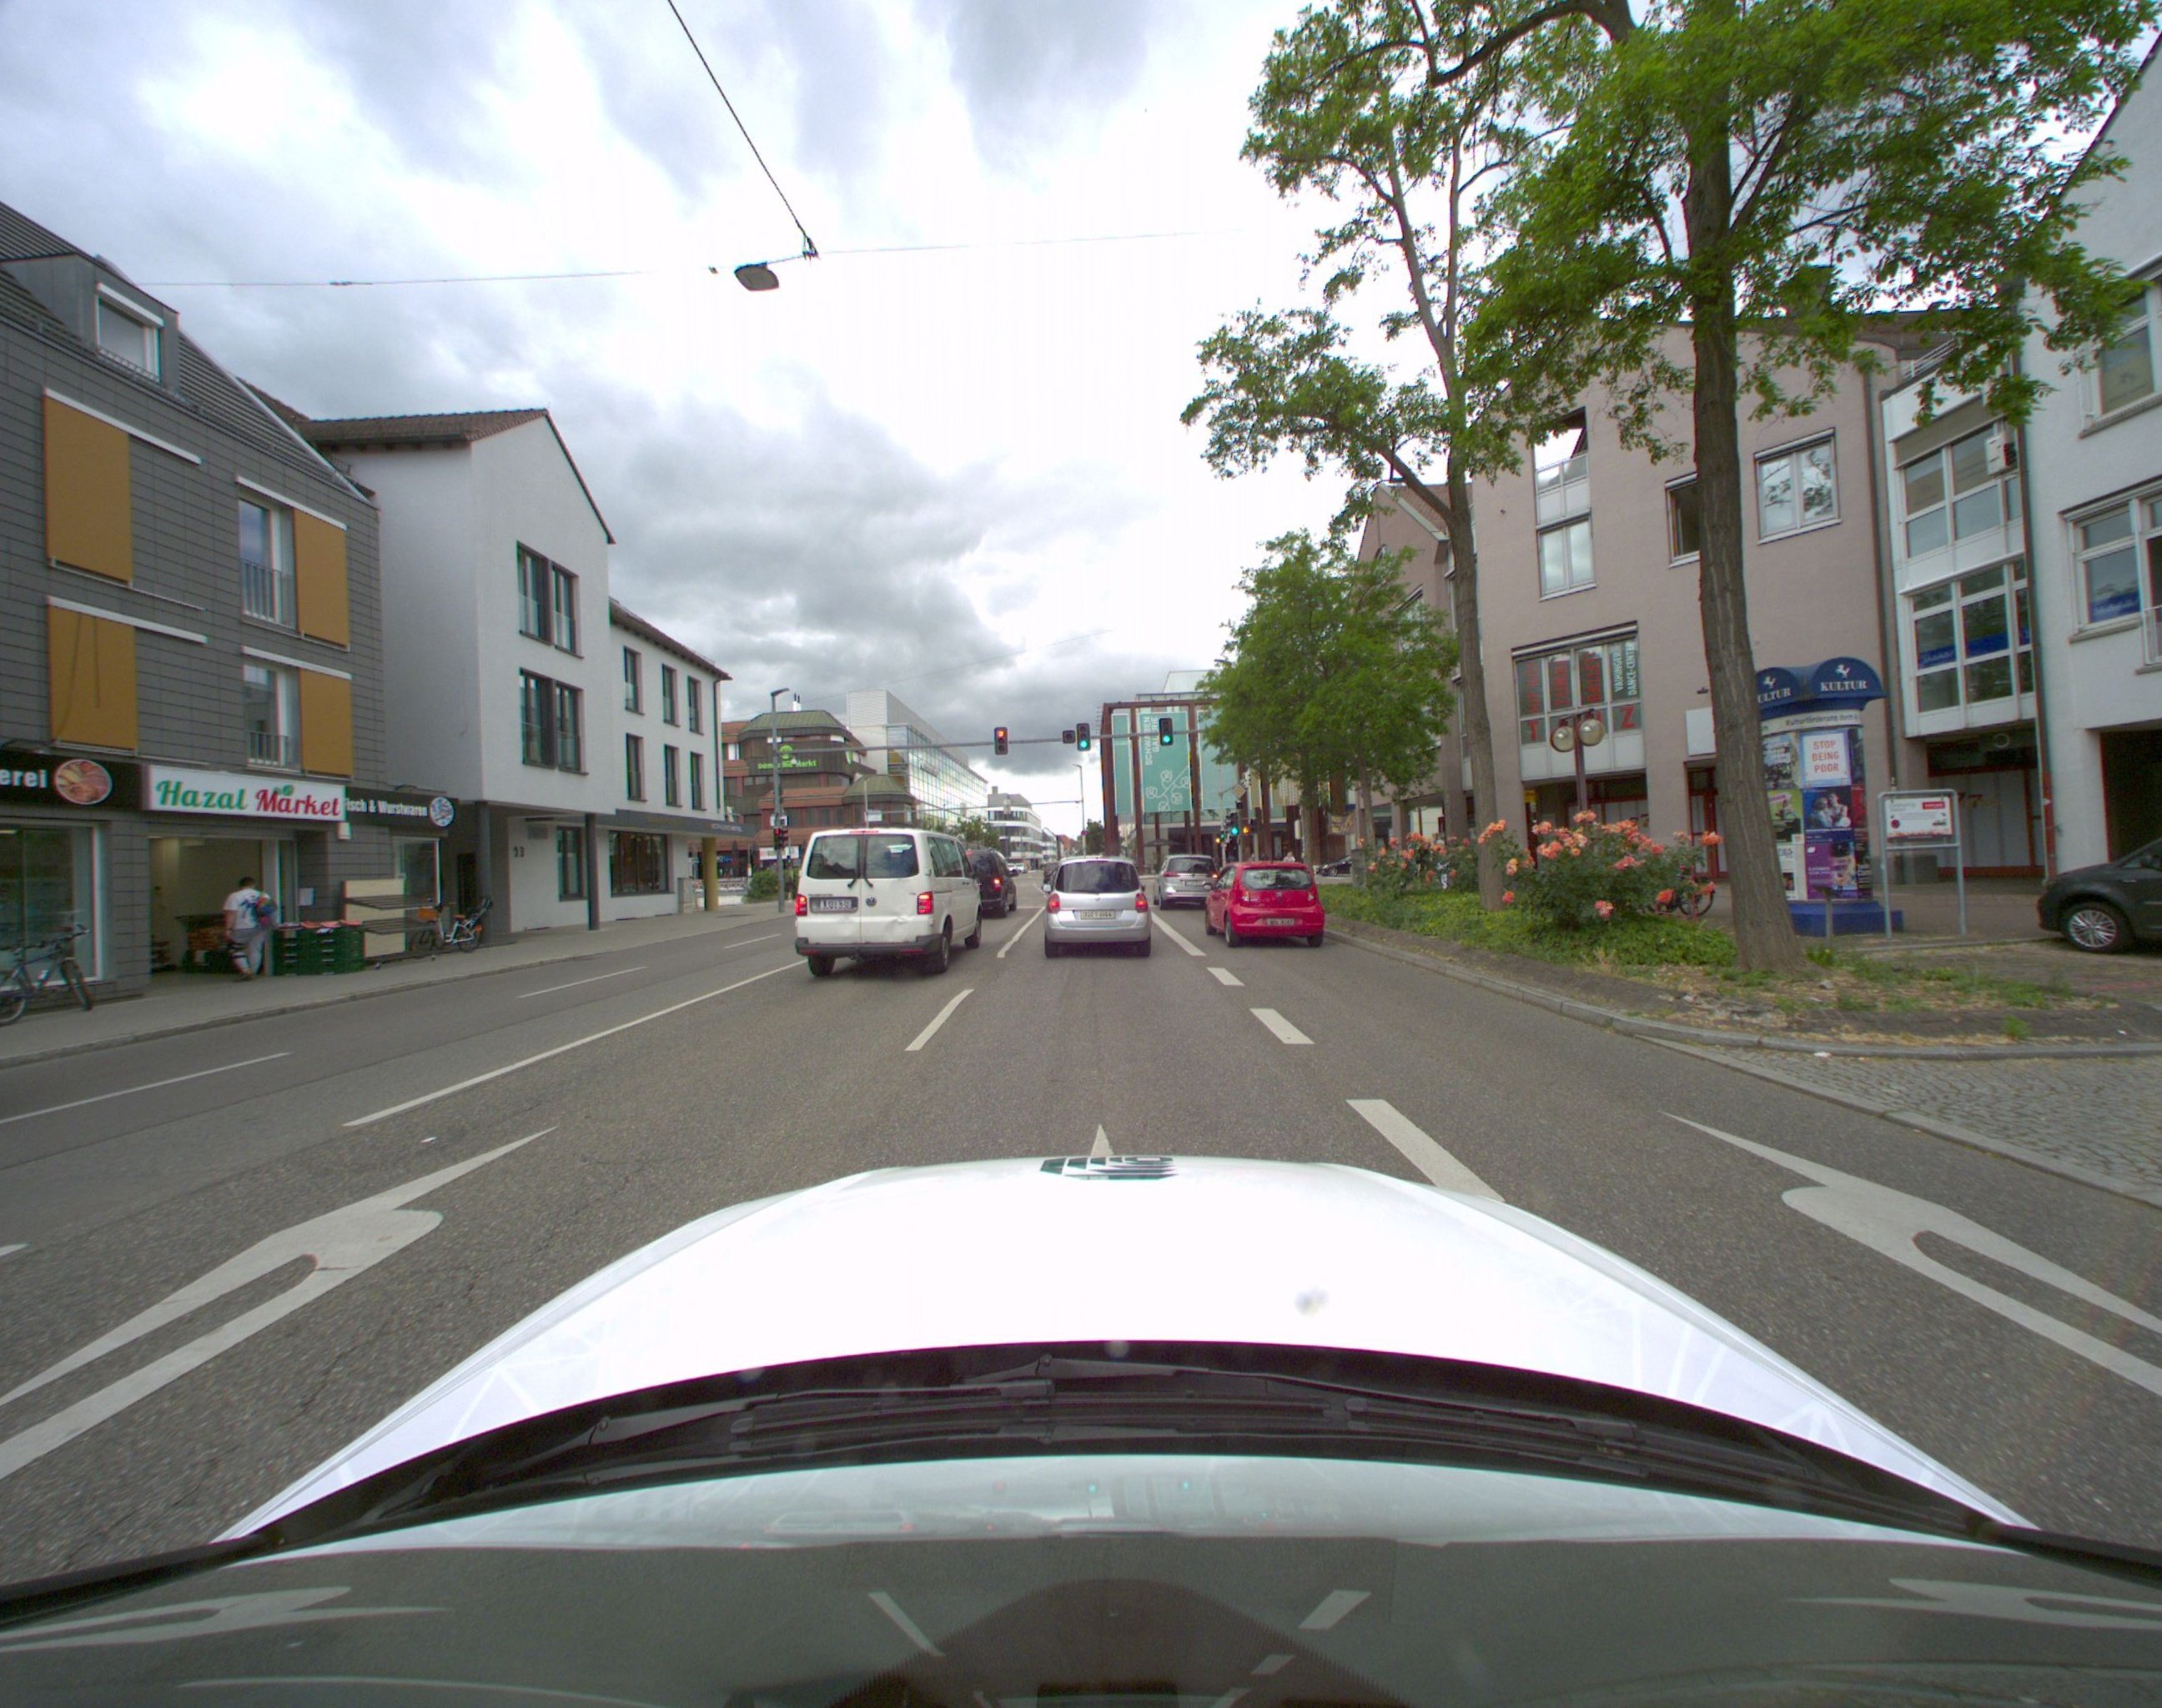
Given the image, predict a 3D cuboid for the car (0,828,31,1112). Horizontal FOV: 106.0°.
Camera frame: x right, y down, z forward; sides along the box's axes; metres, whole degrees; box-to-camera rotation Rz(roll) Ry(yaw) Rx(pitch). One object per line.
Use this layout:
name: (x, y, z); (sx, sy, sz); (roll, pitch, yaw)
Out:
car: (-8.488, 0.852, 3.394); (1.917, 1.968, 4.769); (-4, 0, 0)

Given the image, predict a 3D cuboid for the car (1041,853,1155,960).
car: (0.279, 0.785, 13.858); (1.664, 1.554, 3.642); (-1, 0, 1)

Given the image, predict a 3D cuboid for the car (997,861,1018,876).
car: (-8.071, 1.582, 89.575); (1.738, 1.459, 4.235); (-3, 0, 1)

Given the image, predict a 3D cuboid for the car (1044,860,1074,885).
car: (-1.326, 1.109, 50.236); (1.664, 1.495, 3.642); (-1, 0, 1)

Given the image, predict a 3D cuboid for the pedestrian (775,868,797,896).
pedestrian: (-19.085, 1.820, 52.702); (0.944, 1.755, 0.945); (-3, -1, 2)

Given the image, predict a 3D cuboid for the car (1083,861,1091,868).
car: (1.300, 2.263, 177.230); (1.654, 1.465, 4.001); (-4, 0, 1)

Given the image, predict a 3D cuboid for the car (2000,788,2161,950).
car: (12.878, 0.114, 8.451); (1.729, 1.804, 4.258); (-3, 0, -1)

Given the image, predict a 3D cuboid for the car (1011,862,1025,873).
car: (-9.158, 1.924, 118.512); (1.654, 1.465, 4.001); (-4, 0, 1)

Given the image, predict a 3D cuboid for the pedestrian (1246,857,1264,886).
pedestrian: (10.142, 1.012, 47.561); (0.739, 1.626, 0.952); (-3, 0, -3)

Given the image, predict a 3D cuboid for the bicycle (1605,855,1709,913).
bicycle: (10.986, 0.584, 15.566); (1.549, 1.048, 0.409); (-3, -1, 43)

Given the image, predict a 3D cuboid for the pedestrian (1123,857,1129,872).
pedestrian: (3.858, 0.910, 69.962); (0.446, 1.220, 0.607); (-2, -1, 3)

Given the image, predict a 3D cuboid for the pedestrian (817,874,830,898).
pedestrian: (-17.524, 2.204, 55.502); (0.636, 1.588, 0.526); (-3, -1, 2)

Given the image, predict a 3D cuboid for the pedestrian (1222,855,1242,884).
pedestrian: (9.000, 0.898, 48.513); (0.876, 1.681, 1.119); (-3, -1, -2)

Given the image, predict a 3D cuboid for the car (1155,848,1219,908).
car: (3.263, 0.709, 25.773); (1.732, 1.701, 4.385); (-1, 0, 4)

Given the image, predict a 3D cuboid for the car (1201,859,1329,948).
car: (3.288, 0.822, 15.186); (1.621, 1.448, 3.642); (-1, 0, 1)

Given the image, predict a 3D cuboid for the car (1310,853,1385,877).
car: (16.901, 0.676, 51.789); (4.162, 1.404, 1.799); (-2, 0, -2)

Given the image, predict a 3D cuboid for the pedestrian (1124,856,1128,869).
pedestrian: (5.465, 0.977, 98.282); (0.425, 1.549, 0.481); (-3, -1, -1)

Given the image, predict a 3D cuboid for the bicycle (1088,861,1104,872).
bicycle: (1.576, 1.281, 83.439); (1.554, 0.992, 0.753); (-3, -1, 4)

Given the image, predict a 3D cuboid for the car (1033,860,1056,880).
car: (-2.938, 1.278, 66.089); (1.664, 1.495, 3.642); (-1, 0, 1)

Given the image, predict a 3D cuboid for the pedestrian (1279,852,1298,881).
pedestrian: (11.799, 0.694, 46.348); (0.739, 1.626, 0.952); (-3, 0, -3)

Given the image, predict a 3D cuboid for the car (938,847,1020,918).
car: (-2.809, 0.754, 23.380); (1.702, 1.821, 4.572); (-1, 0, 1)

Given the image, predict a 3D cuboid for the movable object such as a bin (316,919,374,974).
movable object such as a bin: (-13.047, 1.624, 14.448); (0.549, 0.899, 0.506); (-2, 0, -1)

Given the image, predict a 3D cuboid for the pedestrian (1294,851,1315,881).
pedestrian: (13.644, 0.717, 49.805); (0.876, 1.767, 1.119); (-3, -1, -2)

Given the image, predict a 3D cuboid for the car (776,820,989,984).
car: (-2.756, 0.606, 12.589); (1.986, 2.014, 4.840); (-1, 0, 1)

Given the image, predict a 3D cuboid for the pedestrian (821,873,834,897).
pedestrian: (-17.687, 2.153, 56.811); (0.636, 1.588, 0.526); (-3, -1, 2)

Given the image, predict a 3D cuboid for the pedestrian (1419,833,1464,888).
pedestrian: (11.084, 0.205, 25.070); (0.806, 1.626, 1.093); (-3, 0, -2)

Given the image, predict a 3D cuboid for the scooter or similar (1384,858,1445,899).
scooter or similar: (9.427, 0.701, 23.096); (0.471, 1.087, 1.877); (-3, -1, -16)

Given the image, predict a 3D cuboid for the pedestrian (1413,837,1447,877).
pedestrian: (14.212, 0.133, 33.203); (0.828, 1.584, 1.058); (-2, -1, -2)

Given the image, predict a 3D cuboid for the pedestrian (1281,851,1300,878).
pedestrian: (12.790, 0.632, 49.652); (0.819, 1.595, 1.038); (-2, -1, -2)

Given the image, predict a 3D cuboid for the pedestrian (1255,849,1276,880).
pedestrian: (11.041, 0.632, 48.754); (0.876, 1.767, 1.119); (-3, -1, -2)

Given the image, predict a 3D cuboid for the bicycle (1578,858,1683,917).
bicycle: (10.334, 0.639, 15.350); (1.549, 1.048, 0.409); (-3, -1, 43)

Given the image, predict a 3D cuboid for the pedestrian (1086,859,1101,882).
pedestrian: (0.979, 1.253, 61.981); (0.861, 1.646, 0.685); (-3, 0, 35)

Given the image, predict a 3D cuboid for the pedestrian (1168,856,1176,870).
pedestrian: (8.374, 0.837, 75.031); (0.513, 1.208, 0.795); (-3, 0, -1)

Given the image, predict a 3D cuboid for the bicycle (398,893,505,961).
bicycle: (-13.113, 1.479, 17.057); (0.580, 1.232, 2.119); (-2, 0, 0)

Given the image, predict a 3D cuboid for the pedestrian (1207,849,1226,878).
pedestrian: (8.064, 0.553, 48.484); (0.876, 1.681, 1.119); (-3, -1, -2)

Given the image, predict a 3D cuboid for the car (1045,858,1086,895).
car: (-0.660, 0.945, 36.286); (1.664, 1.554, 3.642); (-1, 0, 1)

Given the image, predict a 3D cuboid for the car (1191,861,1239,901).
car: (6.060, 1.153, 36.466); (1.838, 1.609, 4.878); (-1, 0, 12)

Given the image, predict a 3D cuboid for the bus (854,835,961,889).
bus: (-12.309, 0.467, 59.542); (2.969, 3.327, 12.340); (-5, 0, 10)

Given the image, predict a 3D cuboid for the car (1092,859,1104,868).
car: (2.625, 1.453, 127.628); (1.870, 1.335, 4.001); (-1, 0, 1)

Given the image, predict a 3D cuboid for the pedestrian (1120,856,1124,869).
pedestrian: (4.937, 0.984, 98.231); (0.425, 1.549, 0.481); (-3, -1, -1)

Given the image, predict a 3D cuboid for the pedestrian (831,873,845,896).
pedestrian: (-16.978, 2.140, 56.920); (0.636, 1.588, 0.657); (-3, -1, 2)

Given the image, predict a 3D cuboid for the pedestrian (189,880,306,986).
pedestrian: (-13.790, 1.279, 13.501); (0.884, 1.643, 0.971); (-2, -1, 0)

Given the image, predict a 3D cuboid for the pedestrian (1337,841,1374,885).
pedestrian: (11.115, 0.363, 32.995); (1.052, 1.715, 1.110); (-2, -1, 0)
